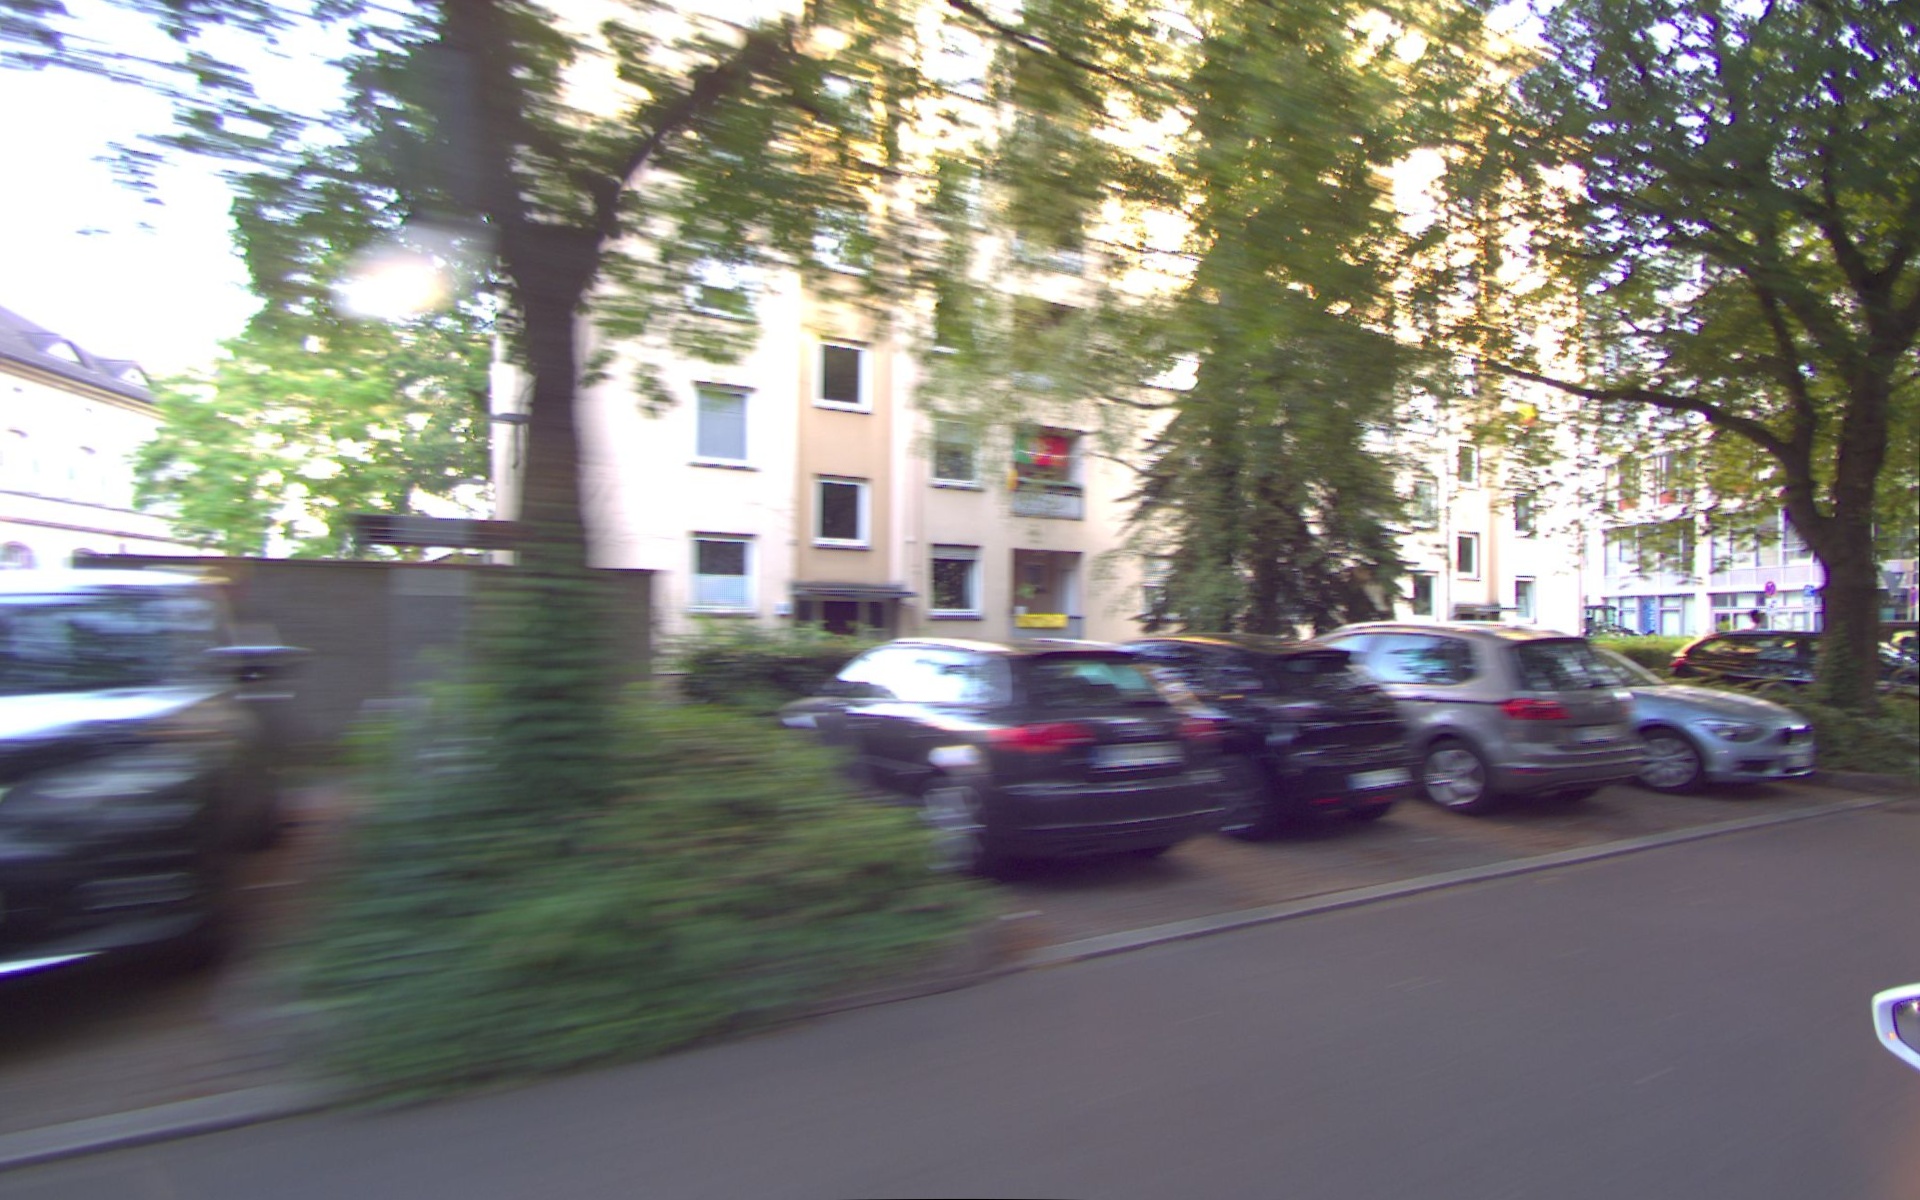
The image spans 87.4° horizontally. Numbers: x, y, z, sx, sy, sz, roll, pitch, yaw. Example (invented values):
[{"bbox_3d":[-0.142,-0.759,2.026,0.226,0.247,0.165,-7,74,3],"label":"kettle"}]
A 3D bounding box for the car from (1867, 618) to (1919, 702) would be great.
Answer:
[{"bbox_3d":[20.225,1.226,18.751,2.030,1.602,4.479,2,0,-29],"label":"car"}]

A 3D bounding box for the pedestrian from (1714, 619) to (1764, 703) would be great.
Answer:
[{"bbox_3d":[15.042,1.162,19.412,0.440,1.592,0.661,1,-1,-4],"label":"pedestrian"}]

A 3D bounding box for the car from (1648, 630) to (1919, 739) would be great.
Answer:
[{"bbox_3d":[13.711,1.240,15.521,2.048,1.443,4.691,1,-1,-31],"label":"car"}]

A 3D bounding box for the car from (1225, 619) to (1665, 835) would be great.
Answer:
[{"bbox_3d":[4.387,1.011,9.536,1.741,1.630,3.387,1,-1,-31],"label":"car"}]

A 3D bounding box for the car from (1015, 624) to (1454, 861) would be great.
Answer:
[{"bbox_3d":[2.093,0.981,8.462,1.646,1.526,3.387,1,-1,-31],"label":"car"}]

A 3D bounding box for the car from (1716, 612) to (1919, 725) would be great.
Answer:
[{"bbox_3d":[15.634,1.117,16.769,2.041,1.707,4.373,1,0,-31],"label":"car"}]

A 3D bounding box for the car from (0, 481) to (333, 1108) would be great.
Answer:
[{"bbox_3d":[-4.297,0.600,4.820,1.976,1.917,4.397,1,-1,-30],"label":"car"}]

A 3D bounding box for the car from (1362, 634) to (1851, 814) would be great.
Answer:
[{"bbox_3d":[6.625,1.133,10.779,1.727,1.398,4.078,1,0,-31],"label":"car"}]

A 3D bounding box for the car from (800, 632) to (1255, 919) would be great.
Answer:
[{"bbox_3d":[0.249,0.977,7.121,1.576,1.461,3.387,1,-1,-31],"label":"car"}]

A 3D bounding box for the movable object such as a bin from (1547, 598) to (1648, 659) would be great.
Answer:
[{"bbox_3d":[29.218,1.287,46.202,1.768,2.669,4.108,1,-1,-5],"label":"movable object such as a bin"}]

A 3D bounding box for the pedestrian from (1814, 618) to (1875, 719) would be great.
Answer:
[{"bbox_3d":[16.270,1.243,18.496,0.685,1.812,0.529,0,-1,20],"label":"pedestrian"}]
